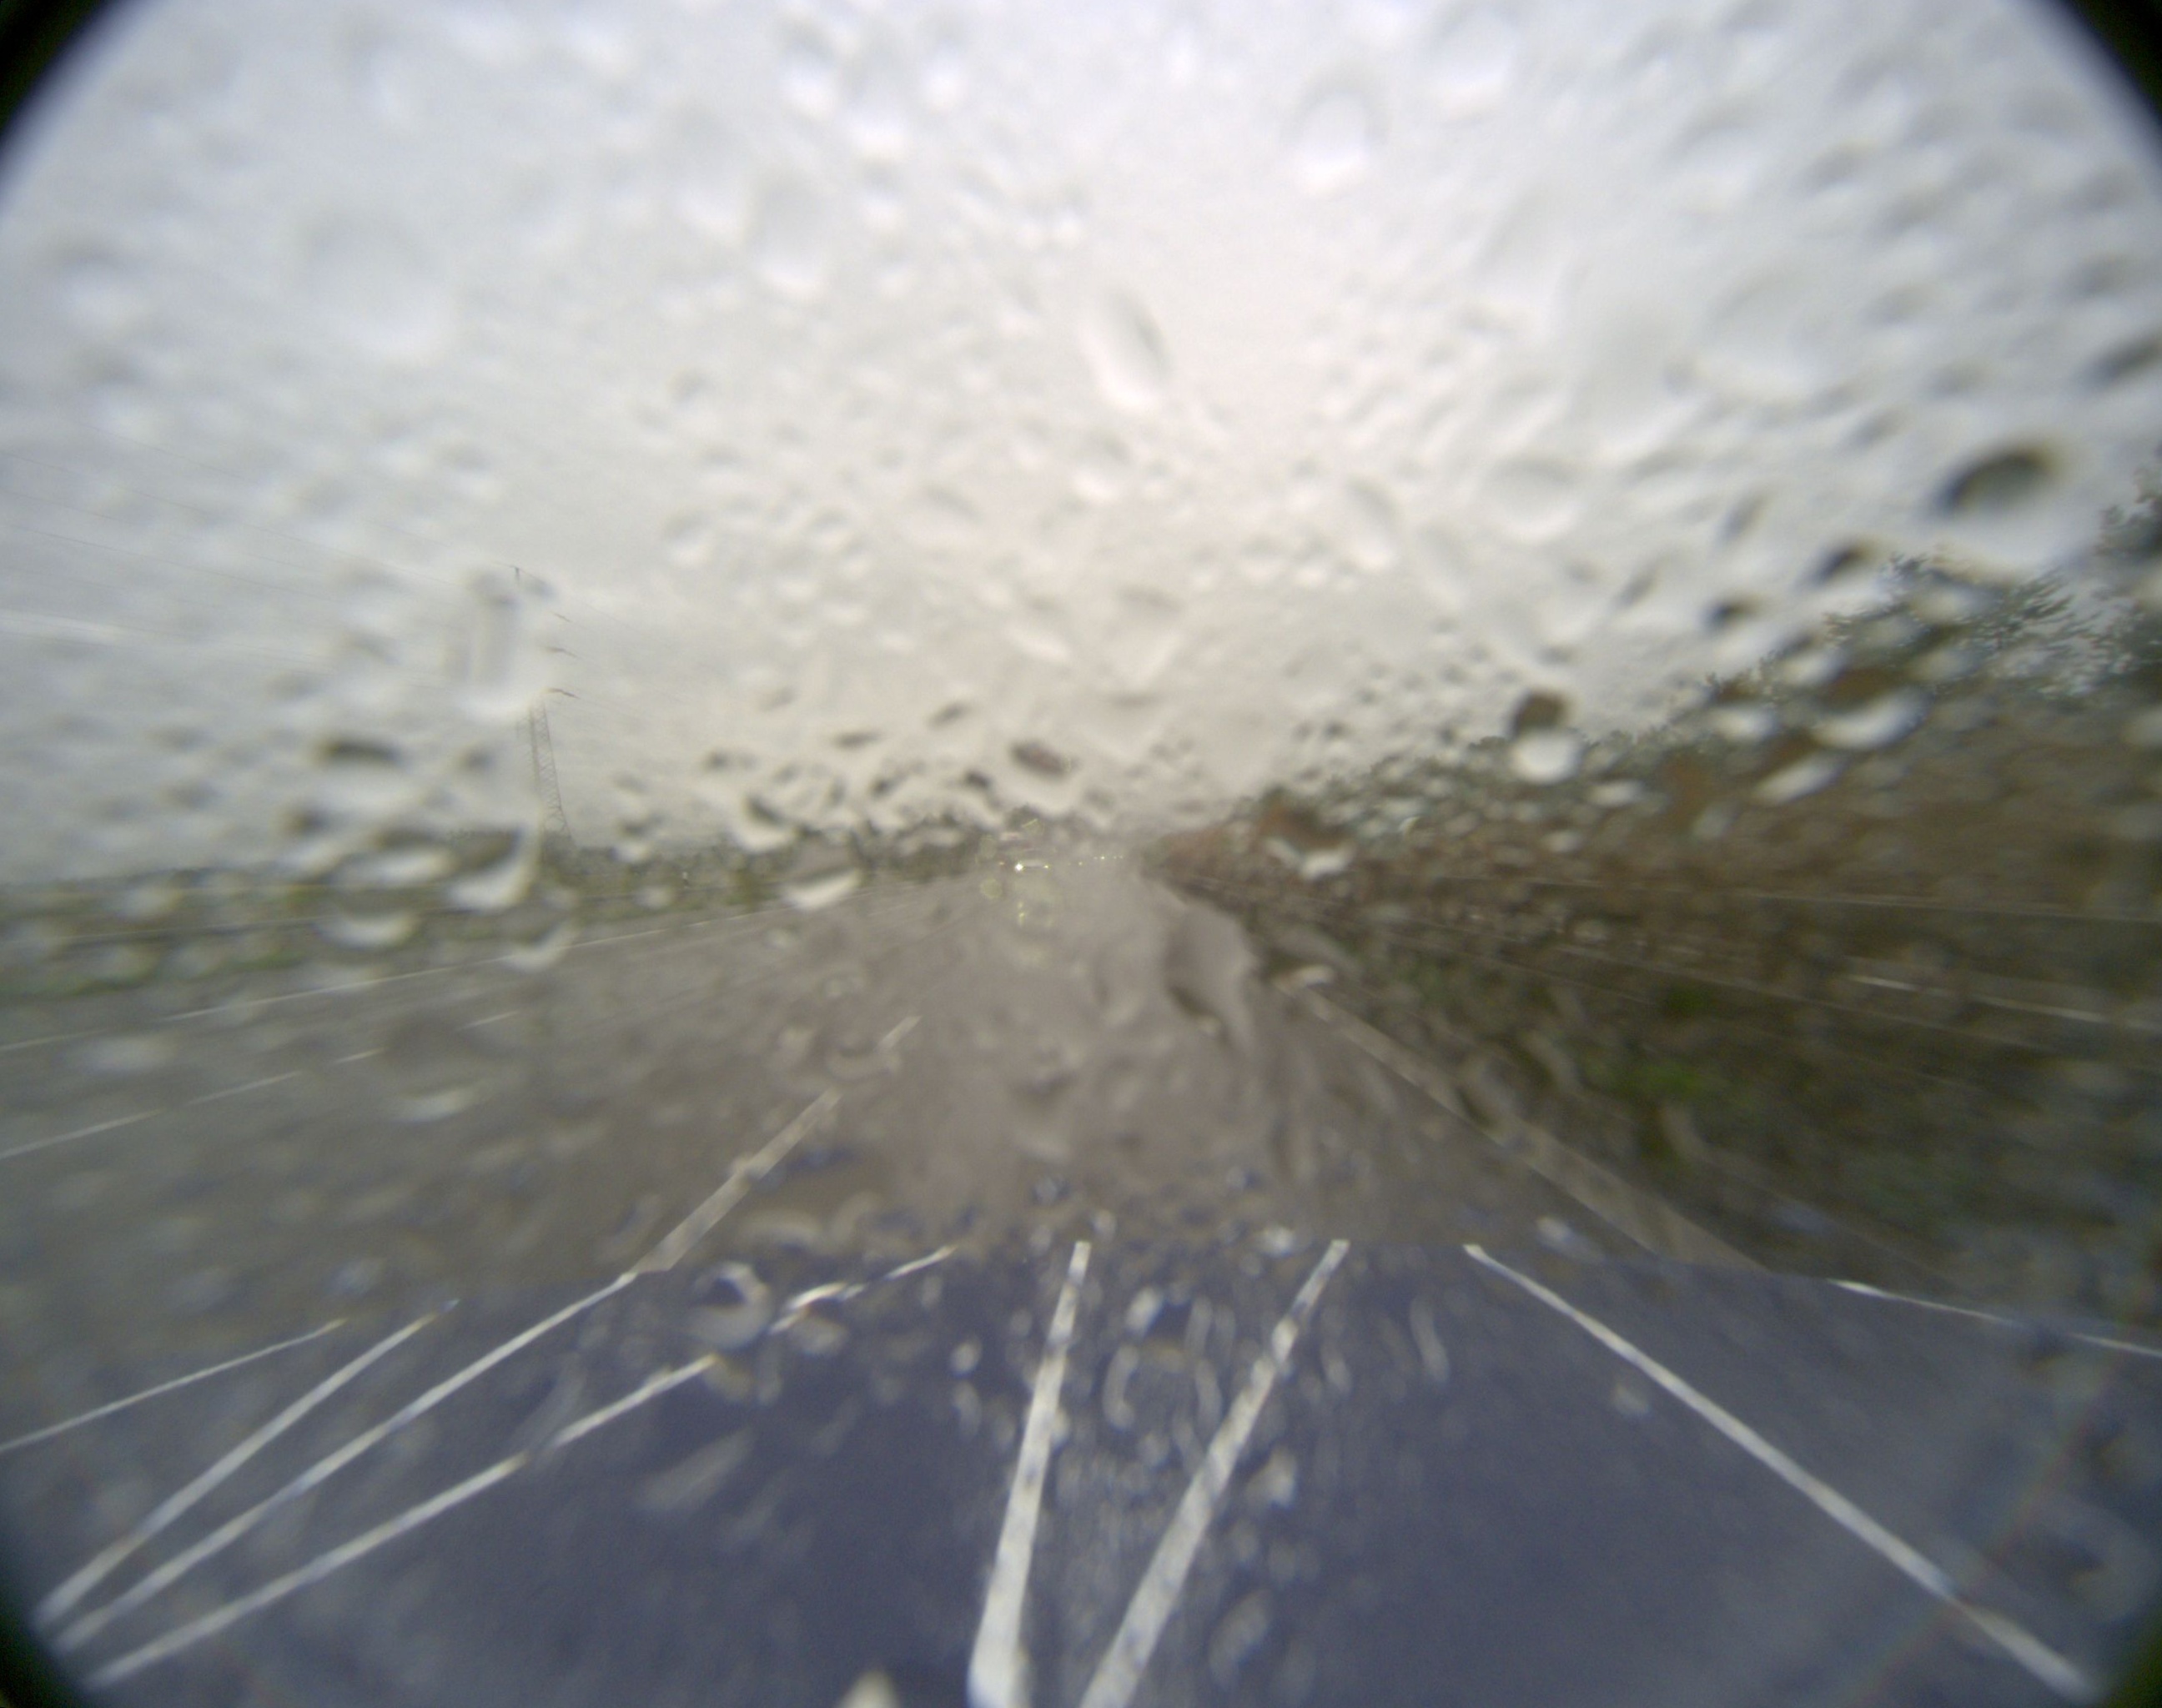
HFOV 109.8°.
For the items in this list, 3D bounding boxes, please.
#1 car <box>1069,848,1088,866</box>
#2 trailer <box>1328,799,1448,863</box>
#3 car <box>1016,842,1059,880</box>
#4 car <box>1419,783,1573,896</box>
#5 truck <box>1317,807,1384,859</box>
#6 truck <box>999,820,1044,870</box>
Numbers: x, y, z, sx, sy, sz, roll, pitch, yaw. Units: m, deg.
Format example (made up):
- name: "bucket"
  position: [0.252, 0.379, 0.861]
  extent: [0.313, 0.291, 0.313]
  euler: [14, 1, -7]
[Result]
- name: "car"
  position: [-0.249, 0.349, 93.159]
  extent: [1.998, 2.002, 4.000]
  euler: [-2, 1, 3]
- name: "trailer"
  position: [18.181, -1.308, 46.124]
  extent: [2.656, 3.319, 11.836]
  euler: [-2, 1, 1]
- name: "car"
  position: [-2.438, 0.349, 43.619]
  extent: [1.998, 2.002, 4.000]
  euler: [-3, 1, 2]
- name: "car"
  position: [14.310, -0.488, 26.751]
  extent: [1.999, 3.478, 6.053]
  euler: [-2, 1, -1]
- name: "truck"
  position: [18.330, -1.381, 52.058]
  extent: [2.654, 3.320, 5.530]
  euler: [-2, 1, 1]
- name: "truck"
  position: [-5.871, -0.931, 77.180]
  extent: [3.135, 4.642, 11.403]
  euler: [-2, 1, 2]
